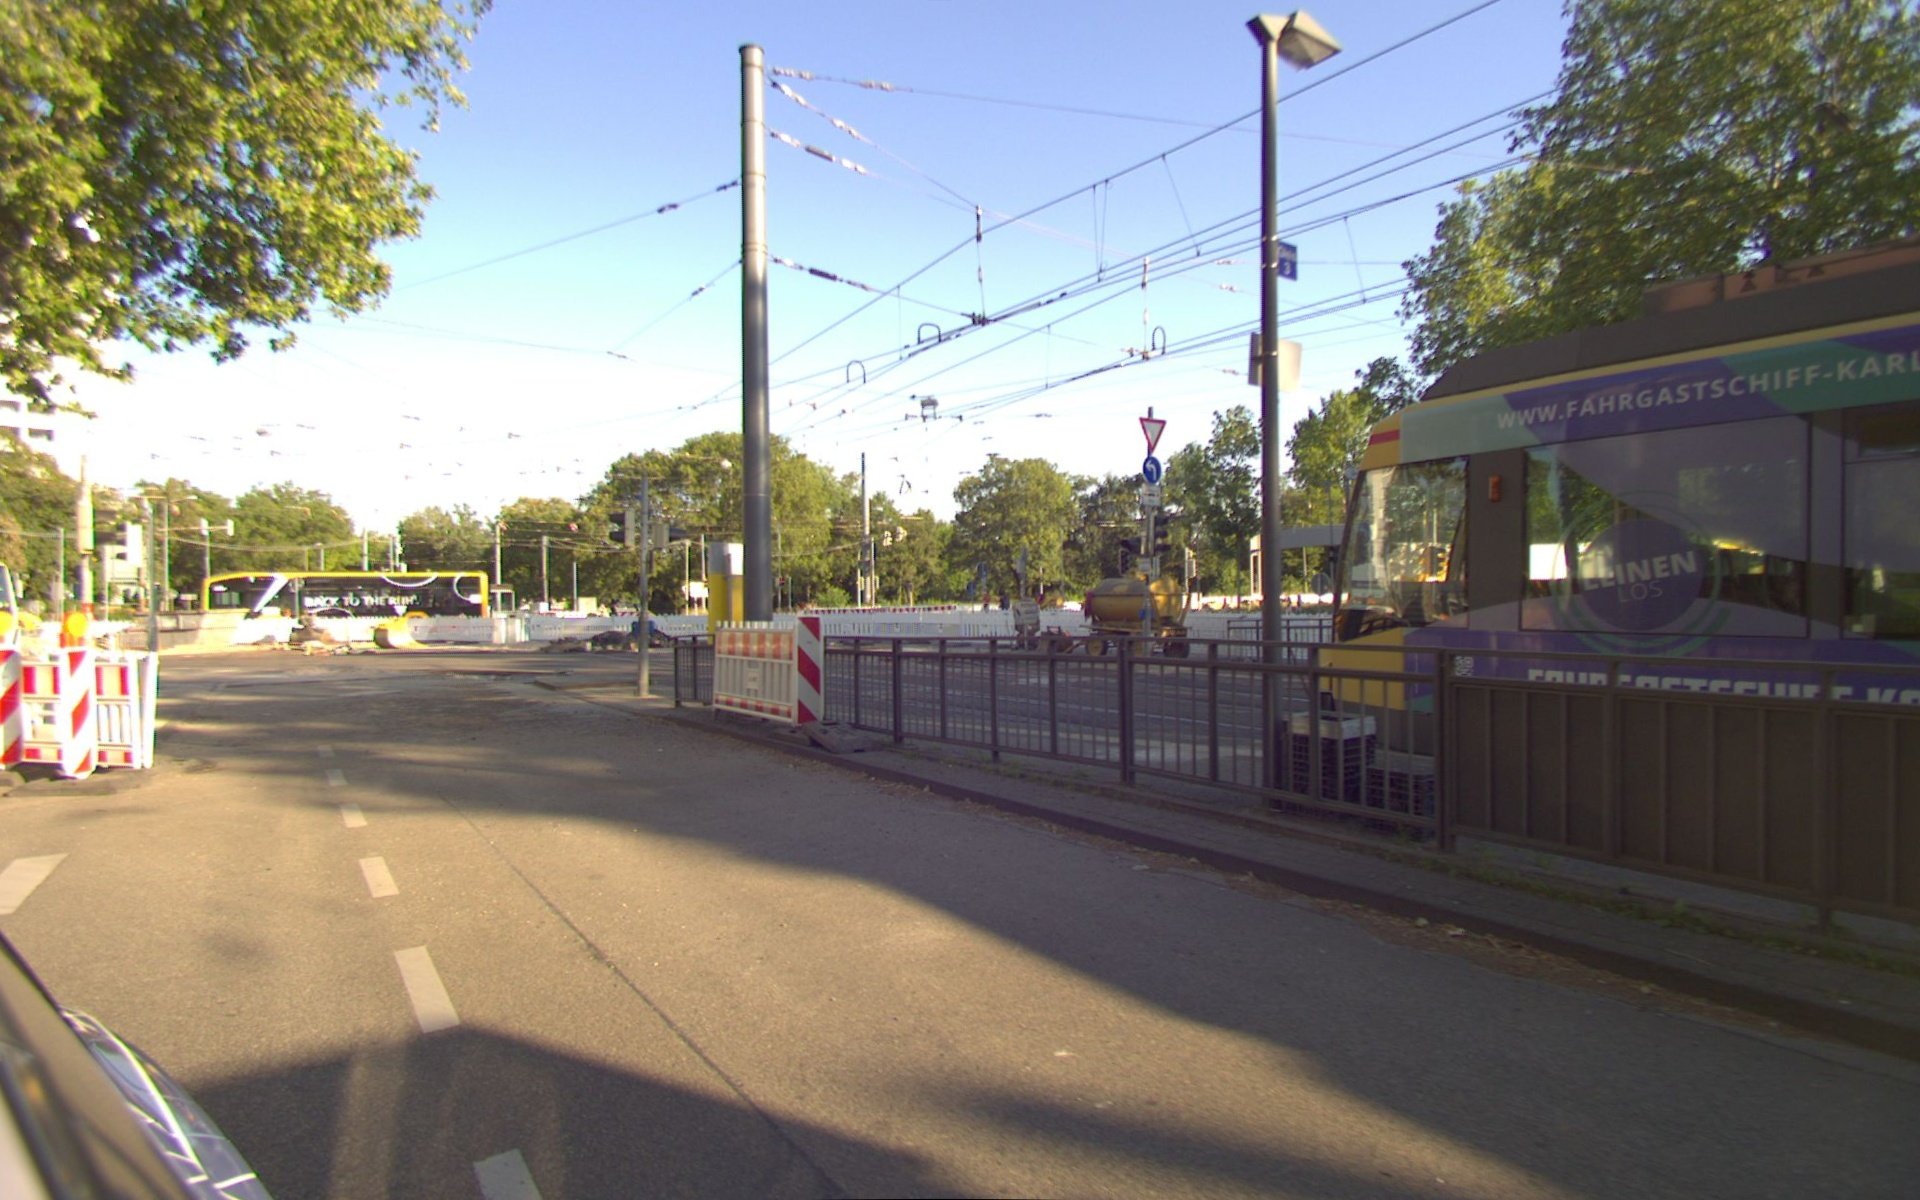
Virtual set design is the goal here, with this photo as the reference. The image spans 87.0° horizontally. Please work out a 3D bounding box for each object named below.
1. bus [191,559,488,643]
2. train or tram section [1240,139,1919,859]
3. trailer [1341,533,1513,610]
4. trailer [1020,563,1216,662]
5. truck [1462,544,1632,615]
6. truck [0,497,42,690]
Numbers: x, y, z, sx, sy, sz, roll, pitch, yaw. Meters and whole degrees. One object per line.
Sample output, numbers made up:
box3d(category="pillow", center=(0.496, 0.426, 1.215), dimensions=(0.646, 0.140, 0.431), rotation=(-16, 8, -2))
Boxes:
box3d(category="bus", center=(-30.072, -0.006, 49.741), dimensions=(12.096, 3.751, 3.096), rotation=(-1, 0, -34))
box3d(category="train or tram section", center=(7.262, -0.523, 3.761), dimensions=(2.811, 3.559, 13.432), rotation=(0, 0, -33))
box3d(category="trailer", center=(24.806, -1.483, 53.670), dimensions=(9.086, 3.826, 2.905), rotation=(-1, 0, -23))
box3d(category="trailer", center=(3.666, 0.285, 24.094), dimensions=(1.969, 2.131, 4.353), rotation=(-1, 0, -41))
box3d(category="truck", center=(33.499, -1.144, 57.671), dimensions=(10.252, 3.818, 2.910), rotation=(-1, 0, -24))
box3d(category="truck", center=(-22.126, -0.023, 17.917), dimensions=(8.849, 3.568, 2.824), rotation=(-1, 0, -3))
